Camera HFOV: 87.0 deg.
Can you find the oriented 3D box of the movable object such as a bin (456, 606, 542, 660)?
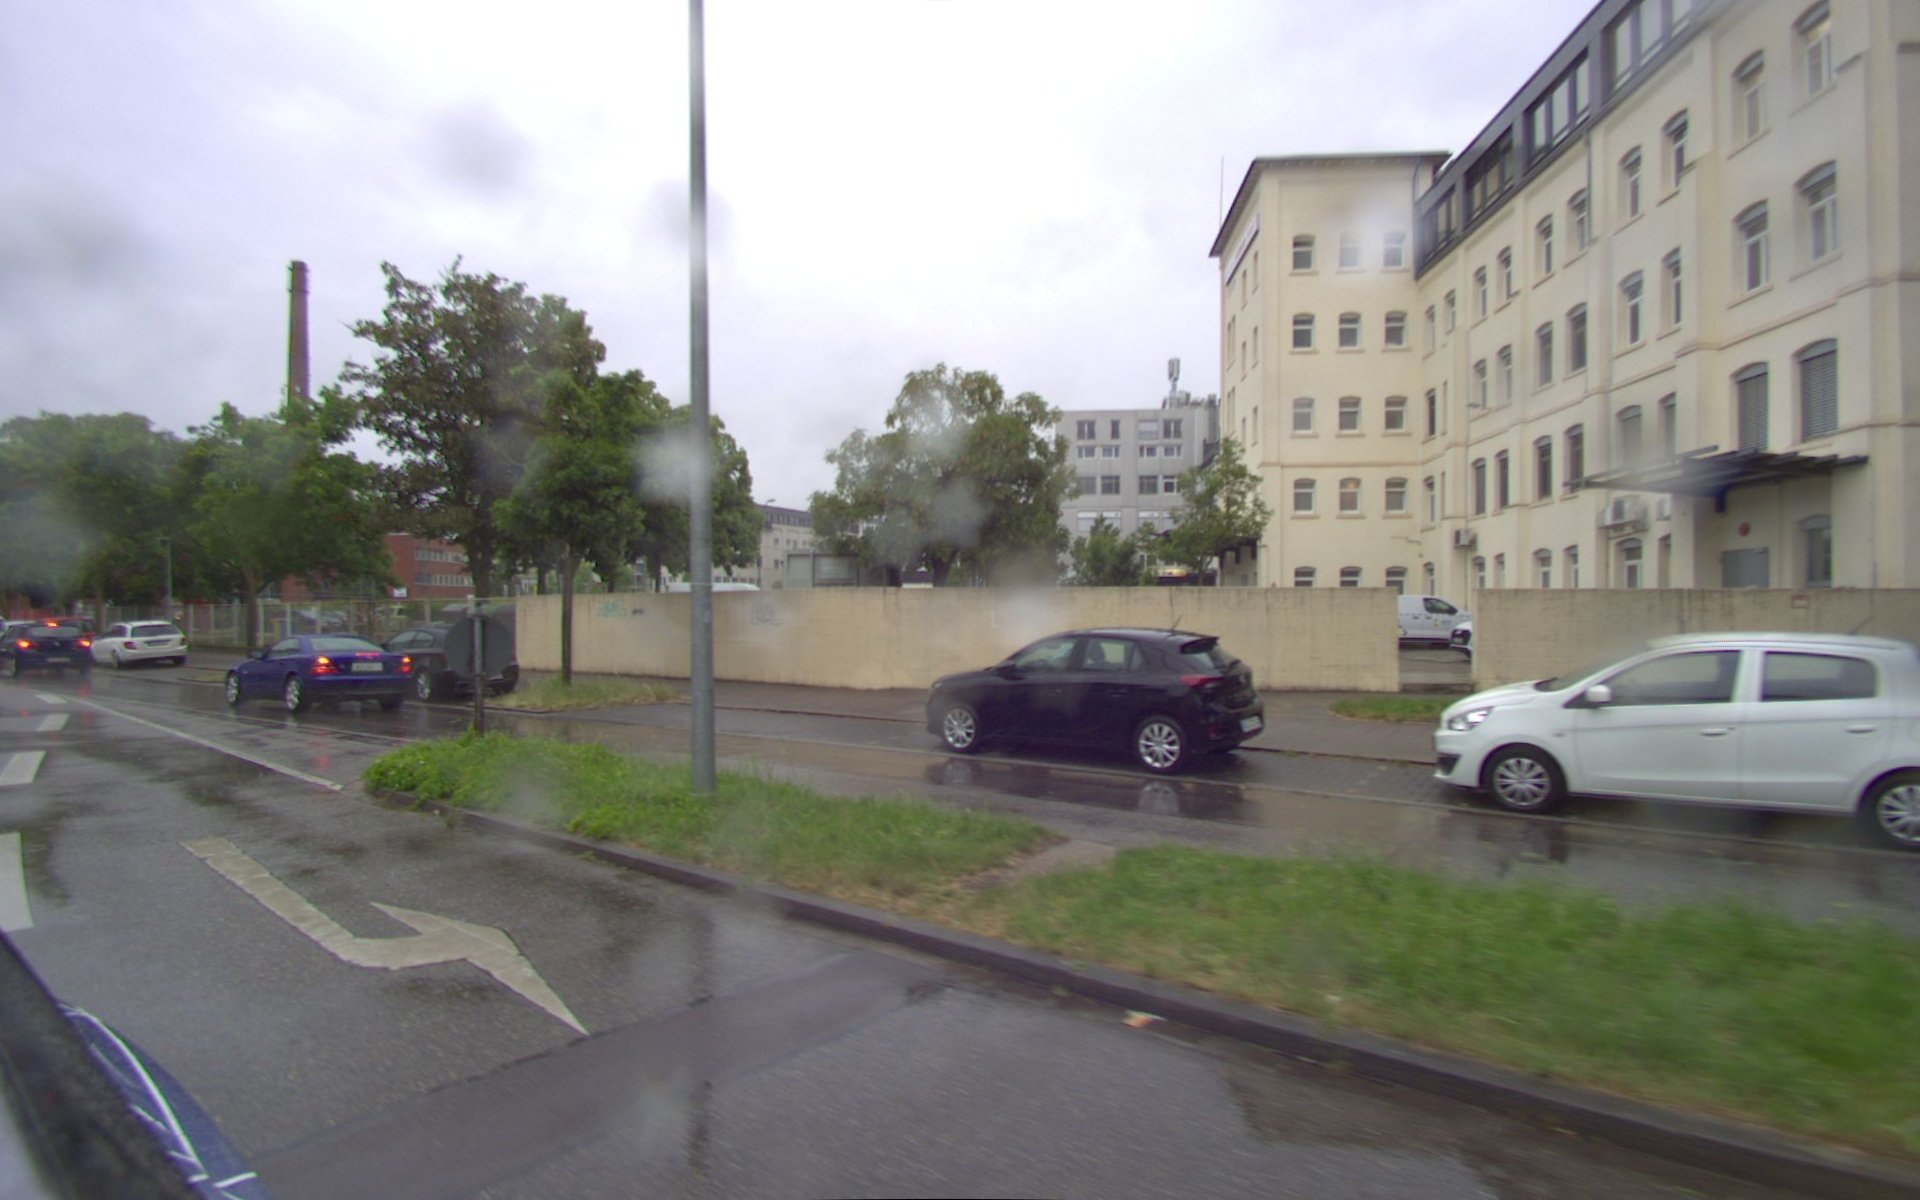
[{"bbox_3d":[-13.081,0.917,28.716,1.829,1.452,1.545,0,0,38],"label":"movable object such as a bin"}]

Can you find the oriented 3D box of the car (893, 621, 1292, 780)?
[{"bbox_3d":[1.403,0.986,11.460,4.171,1.393,1.712,0,1,35],"label":"car"}]

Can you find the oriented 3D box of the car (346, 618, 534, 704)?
[{"bbox_3d":[-10.379,1.131,20.093,4.089,1.456,1.681,0,1,36],"label":"car"}]

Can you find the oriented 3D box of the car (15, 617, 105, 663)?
[{"bbox_3d":[-33.341,1.442,37.466,3.788,1.610,1.610,0,0,34],"label":"car"}]

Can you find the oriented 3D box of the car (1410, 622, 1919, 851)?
[{"bbox_3d":[5.980,0.955,8.144,4.111,1.485,1.589,0,0,34],"label":"car"}]

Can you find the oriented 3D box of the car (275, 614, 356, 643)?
[{"bbox_3d":[-39.365,1.732,61.879,3.949,1.683,1.769,0,0,5],"label":"car"}]

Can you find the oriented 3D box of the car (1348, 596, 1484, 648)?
[{"bbox_3d":[16.262,0.774,36.254,3.949,1.778,1.997,-1,-1,5],"label":"car"}]

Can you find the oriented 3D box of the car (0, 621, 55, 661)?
[{"bbox_3d":[-37.732,1.623,40.499,3.714,1.465,1.674,0,0,39],"label":"car"}]

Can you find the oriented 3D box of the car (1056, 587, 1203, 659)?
[{"bbox_3d":[4.885,0.647,29.649,3.944,2.007,2.000,0,0,1],"label":"car"}]

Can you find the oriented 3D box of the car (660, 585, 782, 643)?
[{"bbox_3d":[-10.192,0.598,43.390,4.664,2.414,2.145,0,0,8],"label":"car"}]

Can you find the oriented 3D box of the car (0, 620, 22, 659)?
[{"bbox_3d":[-44.478,1.771,46.183,4.031,1.695,1.859,0,0,38],"label":"car"}]

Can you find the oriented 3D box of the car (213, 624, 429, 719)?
[{"bbox_3d":[-10.998,1.166,17.347,3.942,1.404,1.712,0,-3,35],"label":"car"}]

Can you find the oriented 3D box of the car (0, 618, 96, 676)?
[{"bbox_3d":[-25.934,1.281,28.377,3.938,1.512,1.690,0,-3,36],"label":"car"}]

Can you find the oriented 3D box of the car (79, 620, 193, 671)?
[{"bbox_3d":[-26.528,1.418,32.533,4.671,1.471,1.758,0,0,36],"label":"car"}]

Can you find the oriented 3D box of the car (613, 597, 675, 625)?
[{"bbox_3d":[-23.412,0.797,75.150,3.951,2.029,1.996,0,0,7],"label":"car"}]

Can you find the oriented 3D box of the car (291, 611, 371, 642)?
[{"bbox_3d":[-39.826,1.648,64.147,3.949,1.896,1.997,0,0,5],"label":"car"}]

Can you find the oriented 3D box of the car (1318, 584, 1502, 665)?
[{"bbox_3d":[11.742,0.635,26.639,3.947,2.029,1.998,0,0,3],"label":"car"}]
